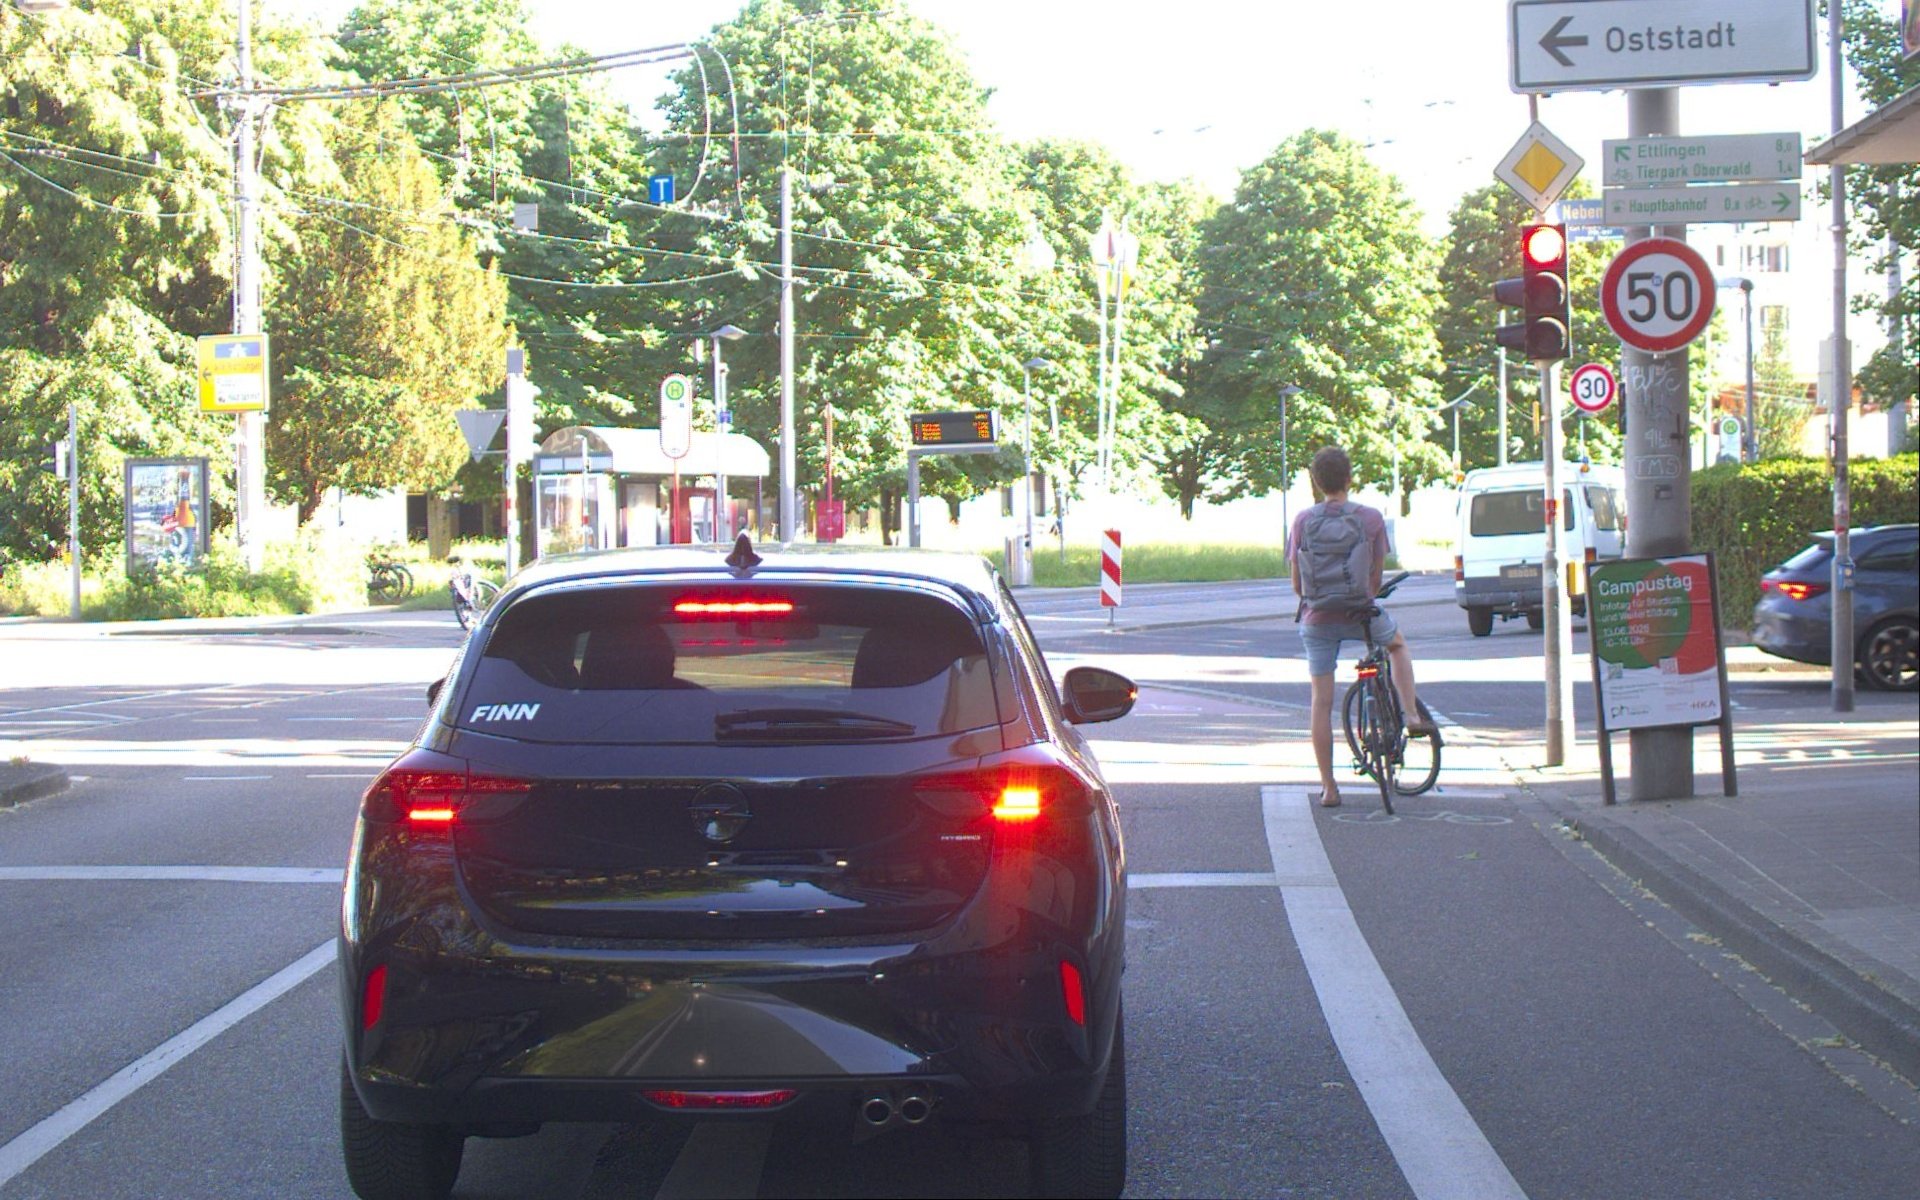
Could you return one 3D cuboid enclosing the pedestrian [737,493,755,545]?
[{"bbox_3d":[-7.669,-2.904,123.281,0.603,1.865,0.519,1,0,-6],"label":"pedestrian"}]

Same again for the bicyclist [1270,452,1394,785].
[{"bbox_3d":[1.926,0.086,17.765,0.534,1.686,0.567,0,1,17],"label":"bicyclist"}]

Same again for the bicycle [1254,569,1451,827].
[{"bbox_3d":[2.069,0.471,17.889,0.753,1.231,2.014,0,1,14],"label":"bicycle"}]

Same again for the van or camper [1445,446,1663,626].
[{"bbox_3d":[8.060,-0.842,46.347,2.031,2.302,4.535,1,1,21],"label":"van or camper"}]

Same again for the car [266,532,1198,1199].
[{"bbox_3d":[-0.473,0.566,8.800,1.840,1.457,3.984,0,1,-1],"label":"car"}]

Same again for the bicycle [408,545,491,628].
[{"bbox_3d":[-6.833,-0.198,46.130,0.796,1.061,2.185,0,1,-1],"label":"bicycle"}]

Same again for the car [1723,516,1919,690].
[{"bbox_3d":[9.194,0.003,30.013,4.727,1.468,1.939,0,1,5],"label":"car"}]

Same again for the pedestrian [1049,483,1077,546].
[{"bbox_3d":[3.091,-2.559,103.152,0.604,1.865,0.519,1,0,-35],"label":"pedestrian"}]
